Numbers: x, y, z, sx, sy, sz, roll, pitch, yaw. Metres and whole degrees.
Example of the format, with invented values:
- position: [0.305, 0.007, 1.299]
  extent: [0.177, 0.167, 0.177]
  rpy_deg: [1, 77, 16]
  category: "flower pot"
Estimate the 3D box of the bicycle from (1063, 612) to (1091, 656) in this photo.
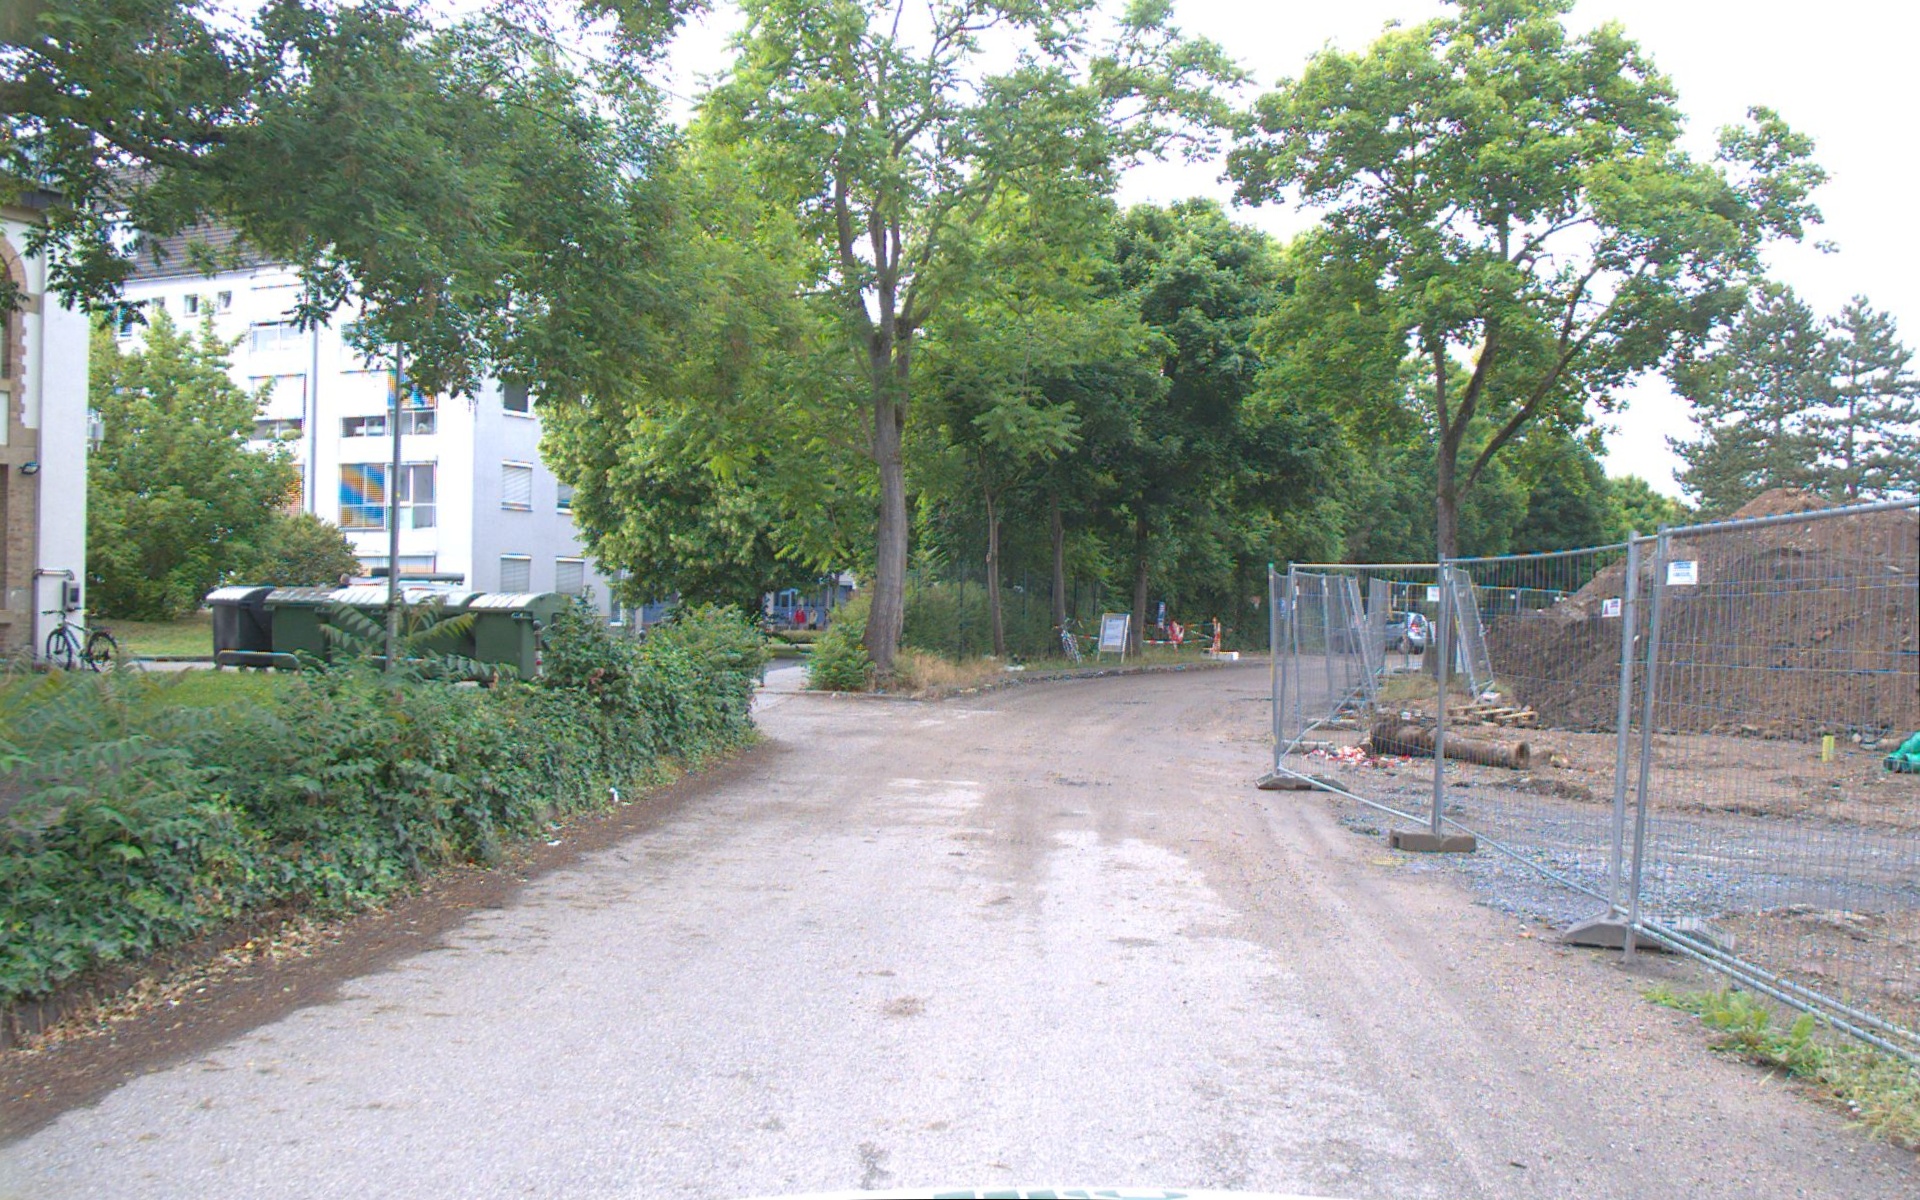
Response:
- position: [2.564, 0.735, 36.235]
  extent: [0.409, 0.921, 1.155]
  rpy_deg: [1, 0, 13]
  category: "bicycle"

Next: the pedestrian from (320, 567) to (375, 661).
- position: [-12.199, 0.281, 32.932]
  extent: [0.682, 1.840, 0.756]
  rpy_deg: [-1, -1, 26]
  category: "pedestrian"

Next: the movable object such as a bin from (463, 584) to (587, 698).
- position: [-6.027, 0.547, 22.922]
  extent: [1.329, 1.475, 1.051]
  rpy_deg: [3, 1, 38]
  category: "movable object such as a bin"

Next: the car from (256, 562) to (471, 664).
- position: [-12.735, 0.293, 35.608]
  extent: [1.811, 2.049, 4.348]
  rpy_deg: [-1, -1, 25]
  category: "car"

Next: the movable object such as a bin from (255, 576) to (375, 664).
- position: [-9.778, 0.287, 25.103]
  extent: [1.322, 1.287, 1.056]
  rpy_deg: [1, 0, 21]
  category: "movable object such as a bin"

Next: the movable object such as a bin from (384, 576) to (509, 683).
- position: [-7.319, 0.411, 23.599]
  extent: [1.322, 1.481, 1.055]
  rpy_deg: [0, -1, 24]
  category: "movable object such as a bin"

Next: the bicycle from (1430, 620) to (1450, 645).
- position: [20.606, 1.384, 70.973]
  extent: [0.754, 0.995, 2.032]
  rpy_deg: [1, 0, 18]
  category: "bicycle"

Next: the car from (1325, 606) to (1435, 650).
- position: [15.935, 1.039, 62.777]
  extent: [3.633, 1.527, 1.863]
  rpy_deg: [1, 0, 33]
  category: "car"

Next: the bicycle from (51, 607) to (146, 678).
- position: [-13.861, 0.671, 26.597]
  extent: [1.787, 1.084, 0.395]
  rpy_deg: [1, 0, 28]
  category: "bicycle"

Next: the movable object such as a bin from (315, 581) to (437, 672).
- position: [-8.588, 0.369, 24.356]
  extent: [1.322, 1.287, 1.055]
  rpy_deg: [1, 0, 24]
  category: "movable object such as a bin"
